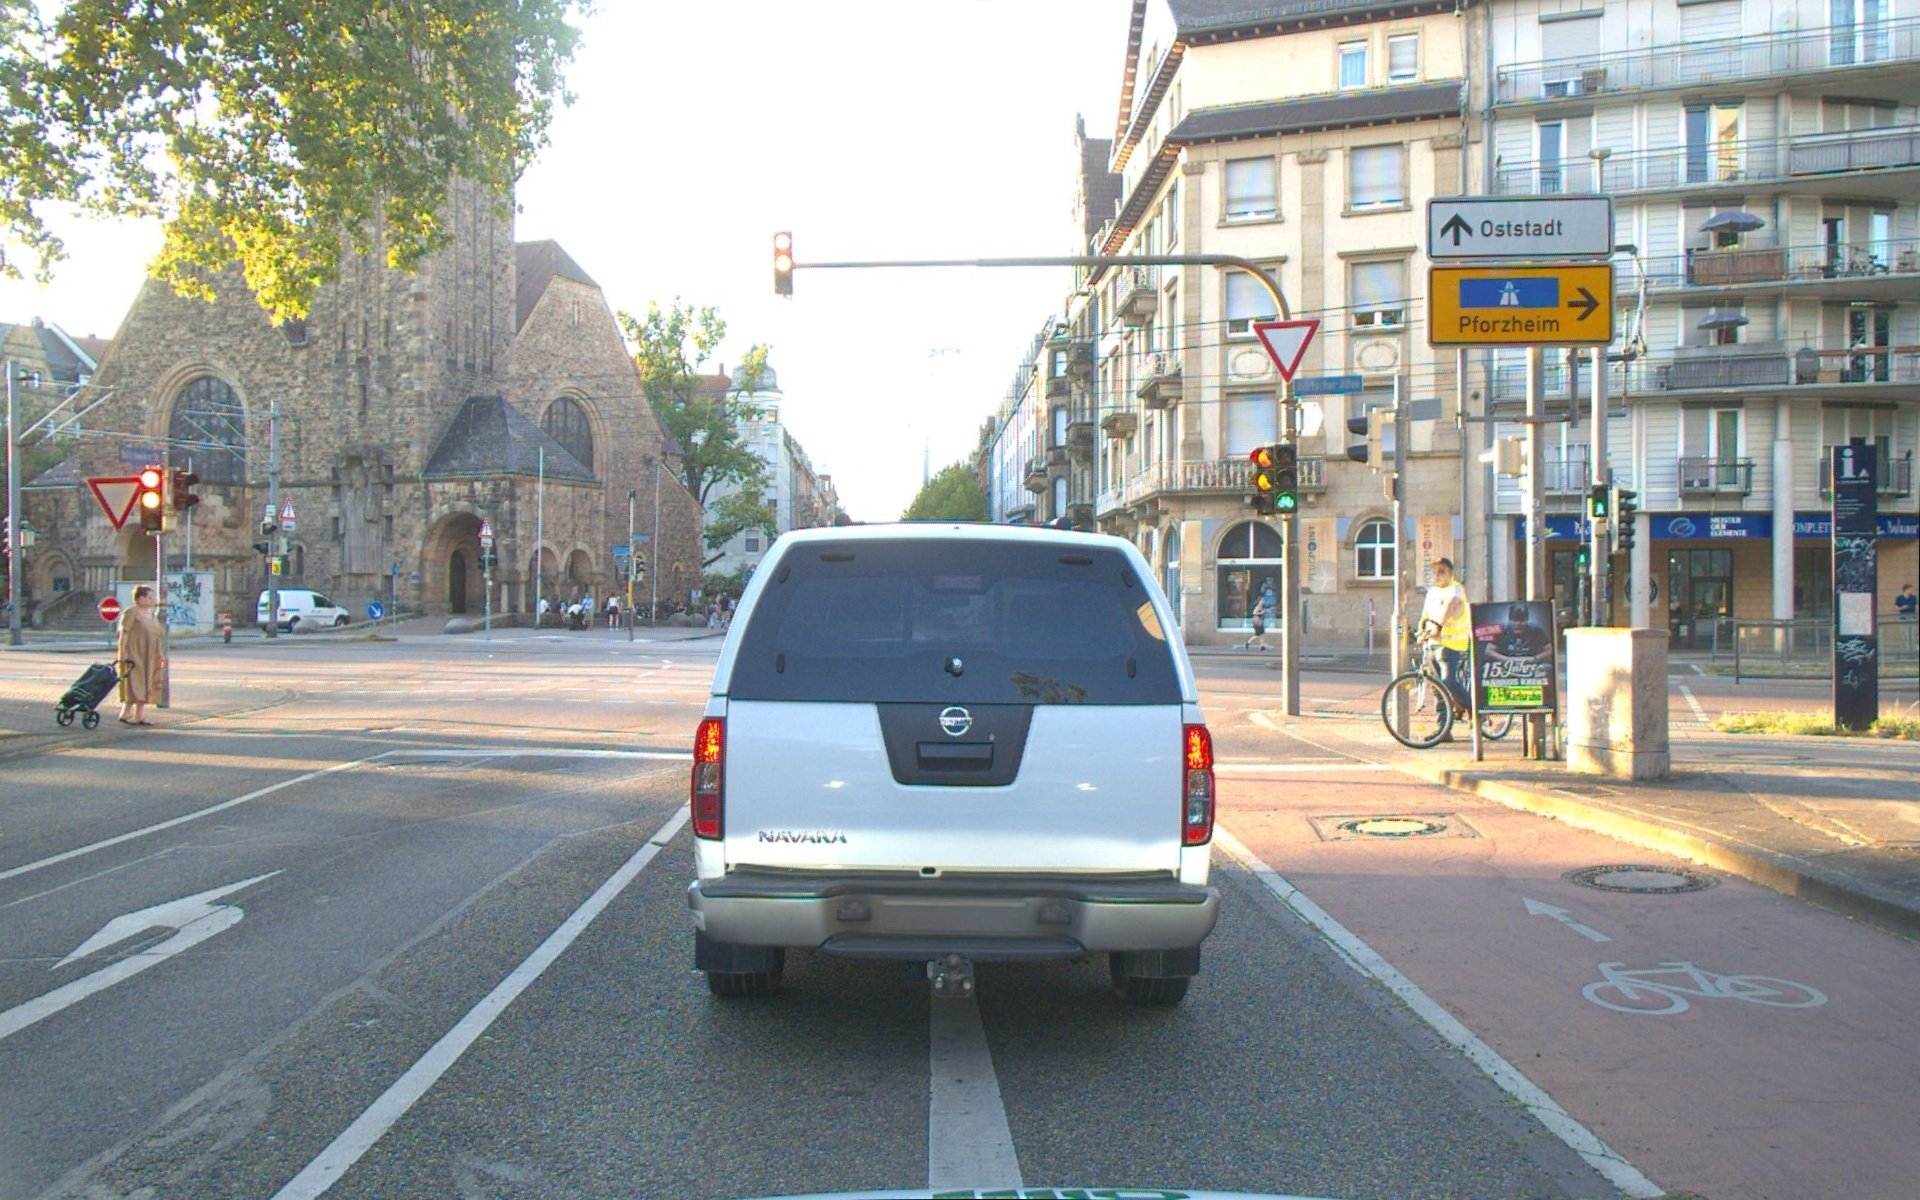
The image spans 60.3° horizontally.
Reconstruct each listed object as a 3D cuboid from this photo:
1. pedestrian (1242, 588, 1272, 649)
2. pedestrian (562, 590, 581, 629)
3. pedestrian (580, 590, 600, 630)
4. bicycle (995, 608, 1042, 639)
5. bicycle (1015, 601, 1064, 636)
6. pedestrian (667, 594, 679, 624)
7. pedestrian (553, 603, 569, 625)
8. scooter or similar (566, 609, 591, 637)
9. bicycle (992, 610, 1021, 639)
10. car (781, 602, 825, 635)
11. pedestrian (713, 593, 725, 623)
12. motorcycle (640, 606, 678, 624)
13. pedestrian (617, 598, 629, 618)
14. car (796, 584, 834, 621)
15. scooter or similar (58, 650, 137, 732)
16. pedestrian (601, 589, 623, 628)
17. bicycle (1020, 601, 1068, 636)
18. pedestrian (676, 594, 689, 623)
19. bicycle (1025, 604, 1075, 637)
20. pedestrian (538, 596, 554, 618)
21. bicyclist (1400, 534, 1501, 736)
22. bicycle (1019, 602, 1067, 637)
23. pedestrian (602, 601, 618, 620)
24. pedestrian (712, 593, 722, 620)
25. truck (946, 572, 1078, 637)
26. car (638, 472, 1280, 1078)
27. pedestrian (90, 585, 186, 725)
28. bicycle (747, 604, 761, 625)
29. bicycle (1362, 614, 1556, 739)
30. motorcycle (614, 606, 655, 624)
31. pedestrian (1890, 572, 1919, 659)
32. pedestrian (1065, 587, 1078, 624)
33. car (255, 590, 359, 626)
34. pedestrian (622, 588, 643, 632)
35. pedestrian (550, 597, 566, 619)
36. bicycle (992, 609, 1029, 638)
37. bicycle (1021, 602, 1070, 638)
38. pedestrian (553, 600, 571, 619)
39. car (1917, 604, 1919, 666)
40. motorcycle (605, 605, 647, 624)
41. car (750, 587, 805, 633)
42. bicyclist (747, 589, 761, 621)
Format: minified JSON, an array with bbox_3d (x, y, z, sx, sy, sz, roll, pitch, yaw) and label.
[{"bbox_3d":[8.868,0.546,49.363,0.771,1.810,0.543,0,-1,24],"label":"pedestrian"},{"bbox_3d":[-17.173,0.411,73.166,0.620,1.728,0.603,1,-1,6],"label":"pedestrian"},{"bbox_3d":[-16.335,0.442,73.018,0.620,1.728,0.603,1,-1,10],"label":"pedestrian"},{"bbox_3d":[2.216,0.885,62.726,1.692,1.102,0.317,-3,-1,-3],"label":"bicycle"},{"bbox_3d":[3.165,0.729,65.791,1.818,1.259,0.530,-3,-1,-3],"label":"bicycle"},{"bbox_3d":[-16.907,0.545,97.360,0.631,1.725,0.560,1,-1,-10],"label":"pedestrian"},{"bbox_3d":[-18.241,0.631,75.584,0.469,0.977,0.522,0,-1,29],"label":"pedestrian"},{"bbox_3d":[-16.605,0.986,72.042,0.620,1.122,1.080,-1,4,12],"label":"scooter or similar"},{"bbox_3d":[1.787,0.932,63.602,1.055,1.042,0.317,-3,-1,-3],"label":"bicycle"},{"bbox_3d":[-7.860,0.890,82.962,1.954,1.585,4.766,0,0,-3],"label":"car"},{"bbox_3d":[-15.382,0.529,105.592,0.632,1.888,0.559,1,-1,-15],"label":"pedestrian"},{"bbox_3d":[-17.418,0.872,95.739,2.119,1.005,0.594,1,-1,19],"label":"motorcycle"},{"bbox_3d":[-16.299,0.398,79.998,0.513,0.977,0.477,1,-1,-17],"label":"pedestrian"},{"bbox_3d":[-8.542,0.171,97.599,1.953,2.049,4.947,0,-1,-2],"label":"car"},{"bbox_3d":[-9.990,1.049,19.182,0.580,0.913,0.849,1,-1,-11],"label":"scooter or similar"},{"bbox_3d":[-15.389,0.369,73.248,0.796,1.699,0.859,1,-1,-3],"label":"pedestrian"},{"bbox_3d":[3.296,0.718,64.657,1.781,1.259,0.412,-3,-1,-3],"label":"bicycle"},{"bbox_3d":[-16.712,0.529,99.567,0.630,1.725,0.561,1,-1,-2],"label":"pedestrian"},{"bbox_3d":[3.393,0.770,62.281,1.781,1.170,0.636,-3,-1,-3],"label":"bicycle"},{"bbox_3d":[-18.710,0.334,74.684,0.511,0.977,0.479,1,-1,18],"label":"pedestrian"},{"bbox_3d":[4.657,0.329,15.705,0.690,1.856,0.621,1,-1,-33],"label":"bicyclist"},{"bbox_3d":[3.208,0.744,63.930,1.781,1.259,0.477,-3,-1,-3],"label":"bicycle"},{"bbox_3d":[-18.691,0.571,88.357,0.540,0.977,0.710,1,-1,20],"label":"pedestrian"},{"bbox_3d":[-15.639,0.448,106.428,0.549,1.725,0.643,1,-1,-9],"label":"pedestrian"},{"bbox_3d":[2.231,0.206,68.827,5.630,2.610,2.250,1,-1,-45],"label":"truck"},{"bbox_3d":[-0.025,0.563,7.116,1.953,1.841,3.999,1,-1,-1],"label":"car"},{"bbox_3d":[-9.992,0.661,20.124,0.786,1.656,0.773,1,-1,-6],"label":"pedestrian"},{"bbox_3d":[-10.701,0.735,85.939,0.587,1.062,1.945,1,-1,-2],"label":"bicycle"},{"bbox_3d":[4.784,0.715,15.802,2.046,1.129,0.621,1,-1,-34],"label":"bicycle"},{"bbox_3d":[-18.387,0.834,93.436,2.201,1.005,0.707,1,-1,-7],"label":"motorcycle"},{"bbox_3d":[24.876,0.395,43.201,0.850,2.247,0.821,1,-1,19],"label":"pedestrian"},{"bbox_3d":[5.080,0.245,75.186,0.517,1.683,0.547,1,-1,-1],"label":"pedestrian"},{"bbox_3d":[-29.201,0.378,74.109,1.679,1.543,4.454,1,-1,23],"label":"car"},{"bbox_3d":[-14.486,0.434,73.240,0.796,1.934,0.666,1,-1,-3],"label":"pedestrian"},{"bbox_3d":[-18.096,0.341,74.418,0.511,0.977,0.479,1,-1,18],"label":"pedestrian"},{"bbox_3d":[1.965,0.926,64.316,1.344,1.042,0.317,-3,-1,-3],"label":"bicycle"},{"bbox_3d":[3.259,0.776,63.219,1.781,1.259,0.487,-3,-1,-3],"label":"bicycle"},{"bbox_3d":[-20.634,0.515,85.834,0.693,0.977,0.553,0,-1,25],"label":"pedestrian"},{"bbox_3d":[24.829,0.859,38.791,3.907,1.512,1.849,1,-1,24],"label":"car"},{"bbox_3d":[-18.450,0.813,91.408,2.201,1.005,0.707,1,-1,-7],"label":"motorcycle"},{"bbox_3d":[-7.773,0.393,70.668,1.953,1.815,4.796,1,1,-2],"label":"car"},{"bbox_3d":[-10.719,0.273,85.968,0.587,1.673,0.963,1,-1,0],"label":"bicyclist"}]
